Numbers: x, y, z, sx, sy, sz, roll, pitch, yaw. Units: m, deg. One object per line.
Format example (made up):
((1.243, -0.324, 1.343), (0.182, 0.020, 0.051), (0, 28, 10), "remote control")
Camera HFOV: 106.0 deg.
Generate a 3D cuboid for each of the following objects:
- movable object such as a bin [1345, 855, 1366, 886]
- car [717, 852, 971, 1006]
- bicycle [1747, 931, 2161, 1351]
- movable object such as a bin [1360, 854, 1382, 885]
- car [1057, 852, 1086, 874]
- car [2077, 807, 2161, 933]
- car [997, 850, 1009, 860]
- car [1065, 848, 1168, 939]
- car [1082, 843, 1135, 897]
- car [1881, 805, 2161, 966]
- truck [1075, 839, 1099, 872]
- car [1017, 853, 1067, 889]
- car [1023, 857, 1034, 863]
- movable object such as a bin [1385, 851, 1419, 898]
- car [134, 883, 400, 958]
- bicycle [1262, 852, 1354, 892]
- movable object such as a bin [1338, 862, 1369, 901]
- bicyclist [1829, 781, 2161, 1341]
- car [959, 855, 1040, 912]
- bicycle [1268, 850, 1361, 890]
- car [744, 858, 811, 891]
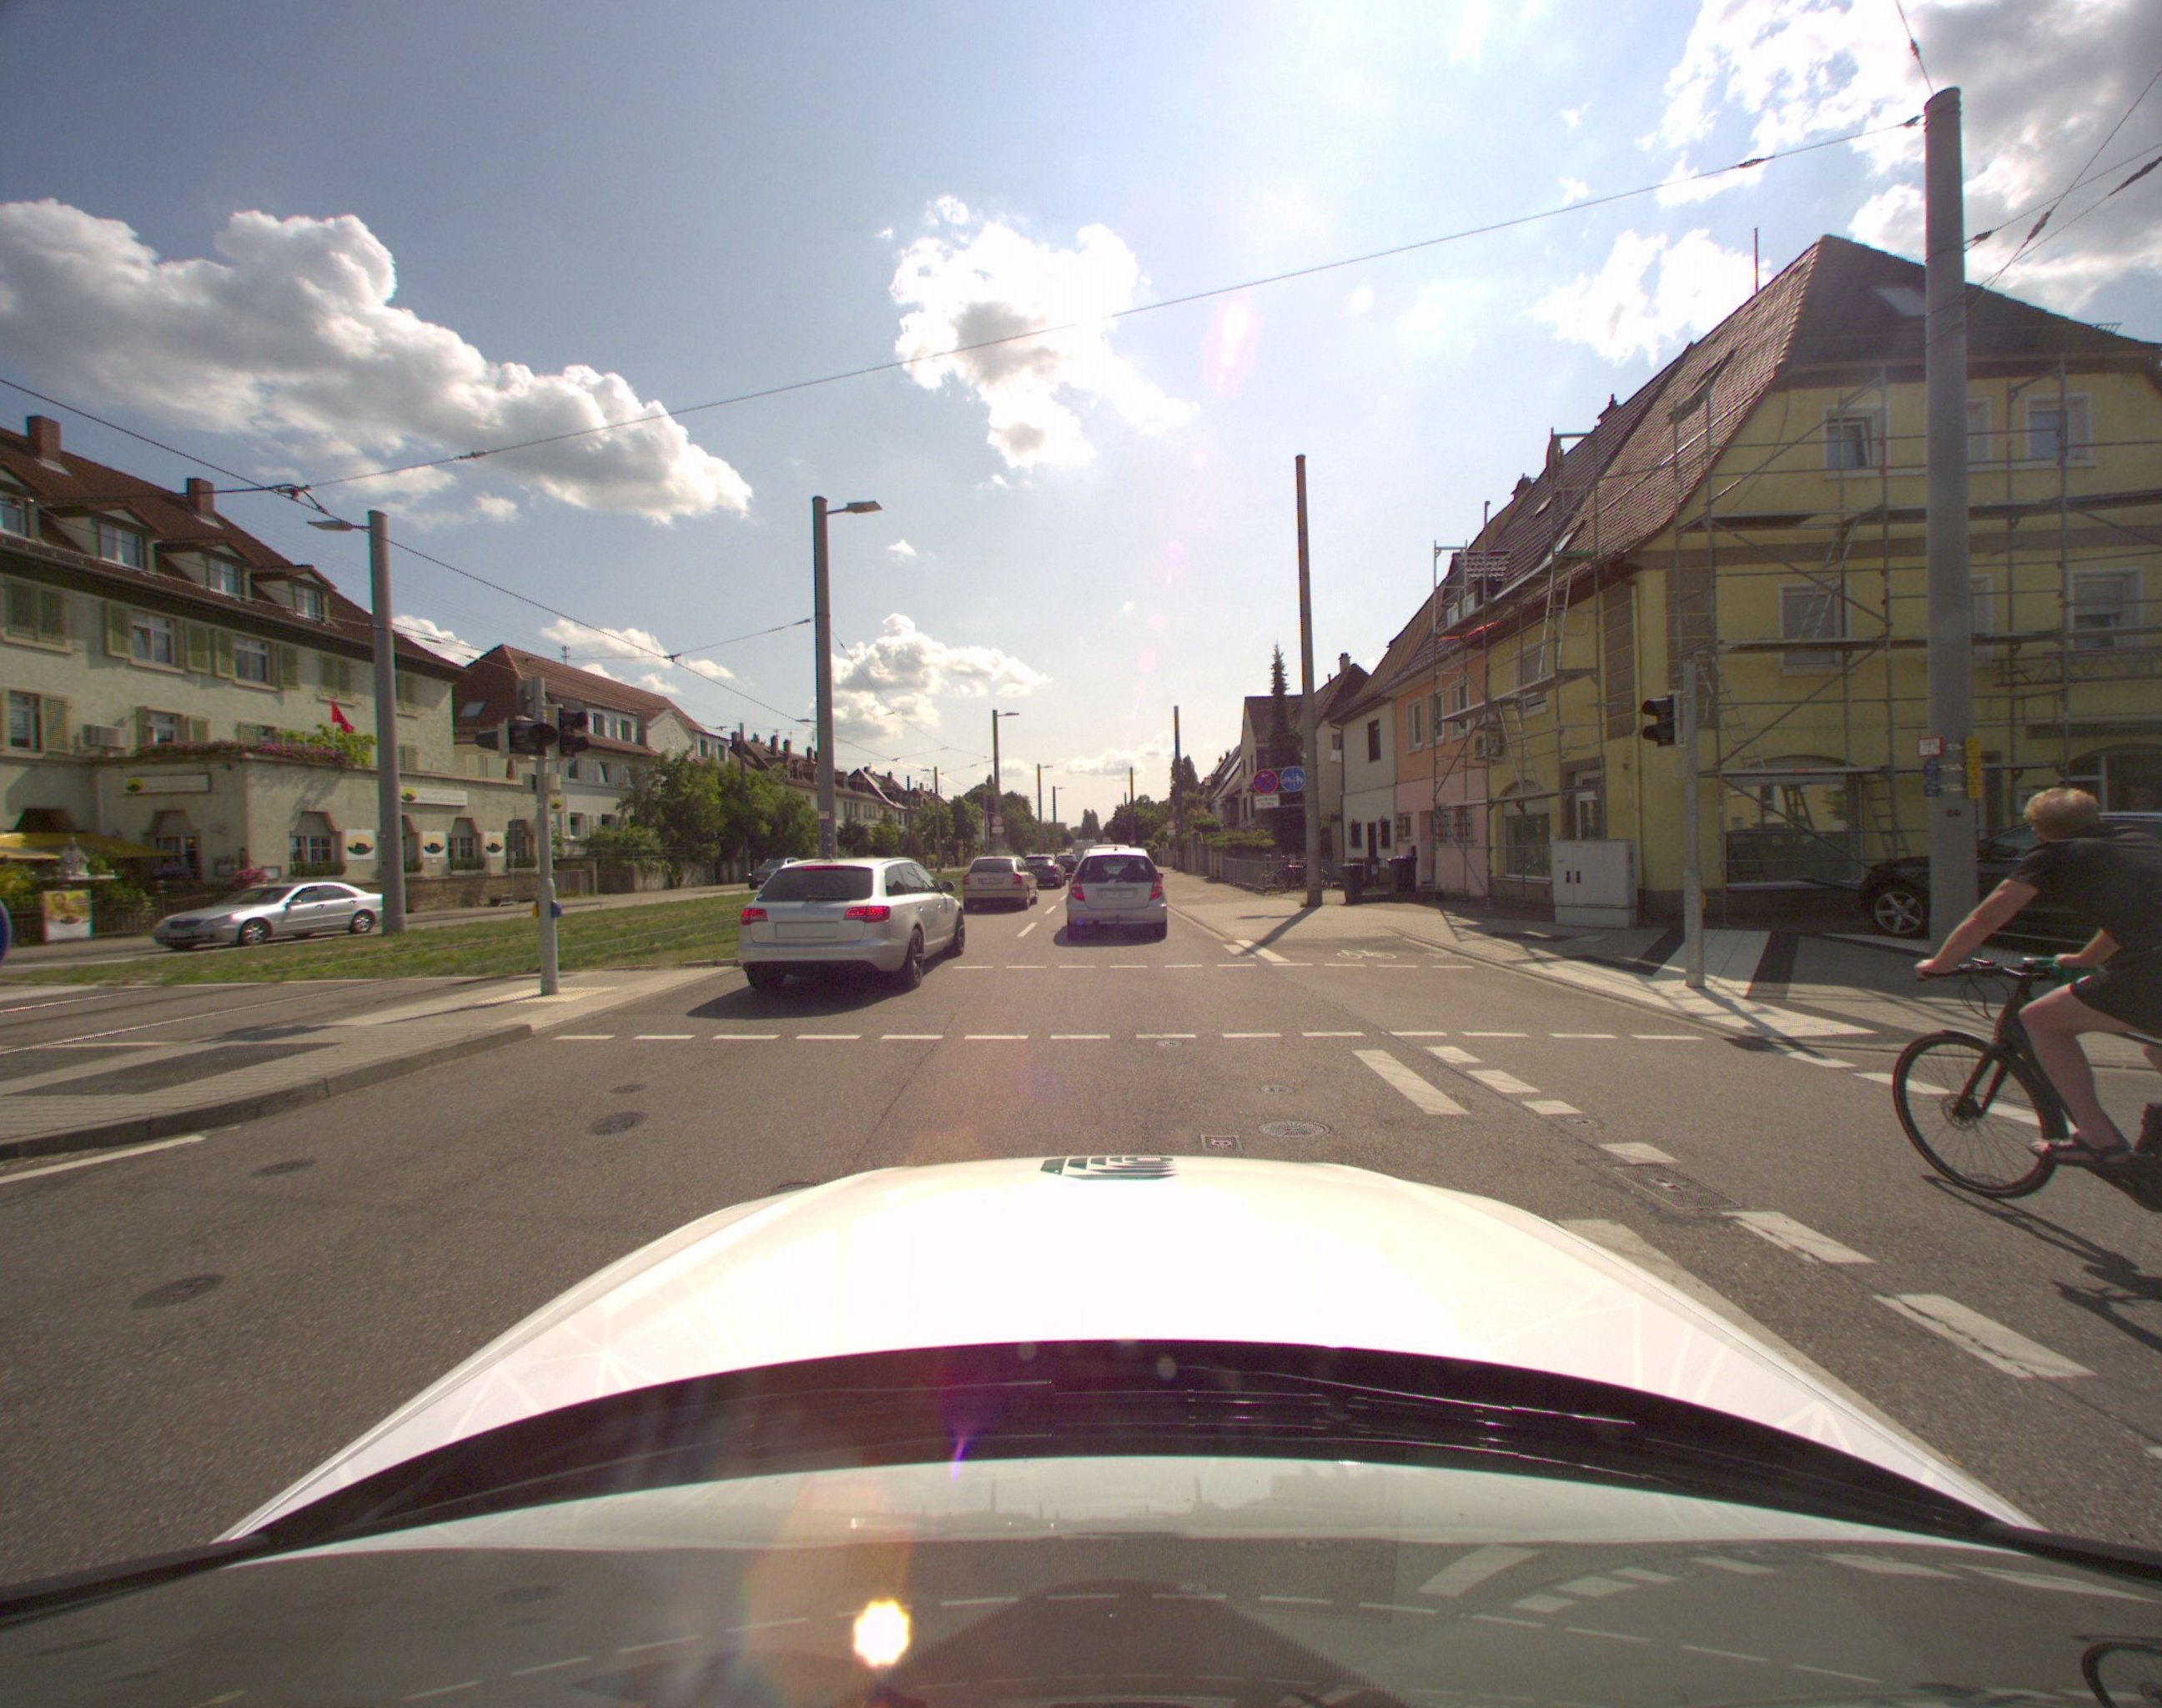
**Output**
((8.661, 0.527, 25.682), (0.466, 0.946, 0.558), (-2, 0, 1), "movable object such as a bin")
((-2.684, 0.747, 10.495), (1.788, 1.472, 4.723), (-1, 0, 1), "car")
((3.810, 0.971, 3.222), (0.824, 1.075, 1.974), (-3, 1, 5), "bicycle")
((9.141, 0.491, 25.667), (0.466, 0.946, 0.558), (-2, 0, 1), "movable object such as a bin")
((-0.609, 0.567, 54.662), (1.846, 1.388, 4.514), (0, 0, 0), "car")
((14.586, 0.201, 9.085), (1.986, 1.596, 4.133), (0, 0, 2), "car")
((-17.441, 0.203, 182.799), (1.908, 2.330, 4.567), (0, 0, 4), "car")
((0.610, 0.658, 15.646), (1.724, 1.517, 4.016), (0, 0, 0), "car")
((0.941, 0.536, 28.607), (1.723, 1.762, 4.018), (0, 0, 1), "car")
((11.766, 0.311, 8.961), (1.986, 1.596, 4.133), (0, 0, 2), "car")
((0.482, 0.096, 65.840), (1.846, 2.552, 5.854), (0, 0, 0), "truck")
((-1.678, 0.699, 36.236), (1.910, 1.477, 4.563), (0, 0, 1), "car")
((-11.875, 1.357, 183.523), (1.908, 1.477, 4.567), (0, 0, 4), "car")
((7.837, 0.489, 19.922), (0.509, 1.105, 0.855), (-1, 0, 2), "movable object such as a bin")
((-19.450, 1.511, 19.823), (1.787, 1.387, 4.474), (-3, 0, 3), "car")
((7.224, 0.565, 26.012), (2.716, 1.119, 0.691), (-3, 0, 1), "bicycle")
((6.631, 0.654, 19.842), (0.509, 0.918, 0.742), (-1, 0, 2), "movable object such as a bin")
((3.788, 0.638, 3.119), (0.824, 1.793, 1.085), (-3, 1, 4), "bicyclist")
((-2.196, 0.750, 22.955), (1.724, 1.449, 4.125), (0, 0, 2), "car")
((7.222, 0.479, 25.269), (2.652, 1.105, 0.786), (-3, 0, 1), "bicycle")
((-18.108, 1.182, 48.837), (2.008, 1.711, 4.937), (-3, 0, 1), "car")
